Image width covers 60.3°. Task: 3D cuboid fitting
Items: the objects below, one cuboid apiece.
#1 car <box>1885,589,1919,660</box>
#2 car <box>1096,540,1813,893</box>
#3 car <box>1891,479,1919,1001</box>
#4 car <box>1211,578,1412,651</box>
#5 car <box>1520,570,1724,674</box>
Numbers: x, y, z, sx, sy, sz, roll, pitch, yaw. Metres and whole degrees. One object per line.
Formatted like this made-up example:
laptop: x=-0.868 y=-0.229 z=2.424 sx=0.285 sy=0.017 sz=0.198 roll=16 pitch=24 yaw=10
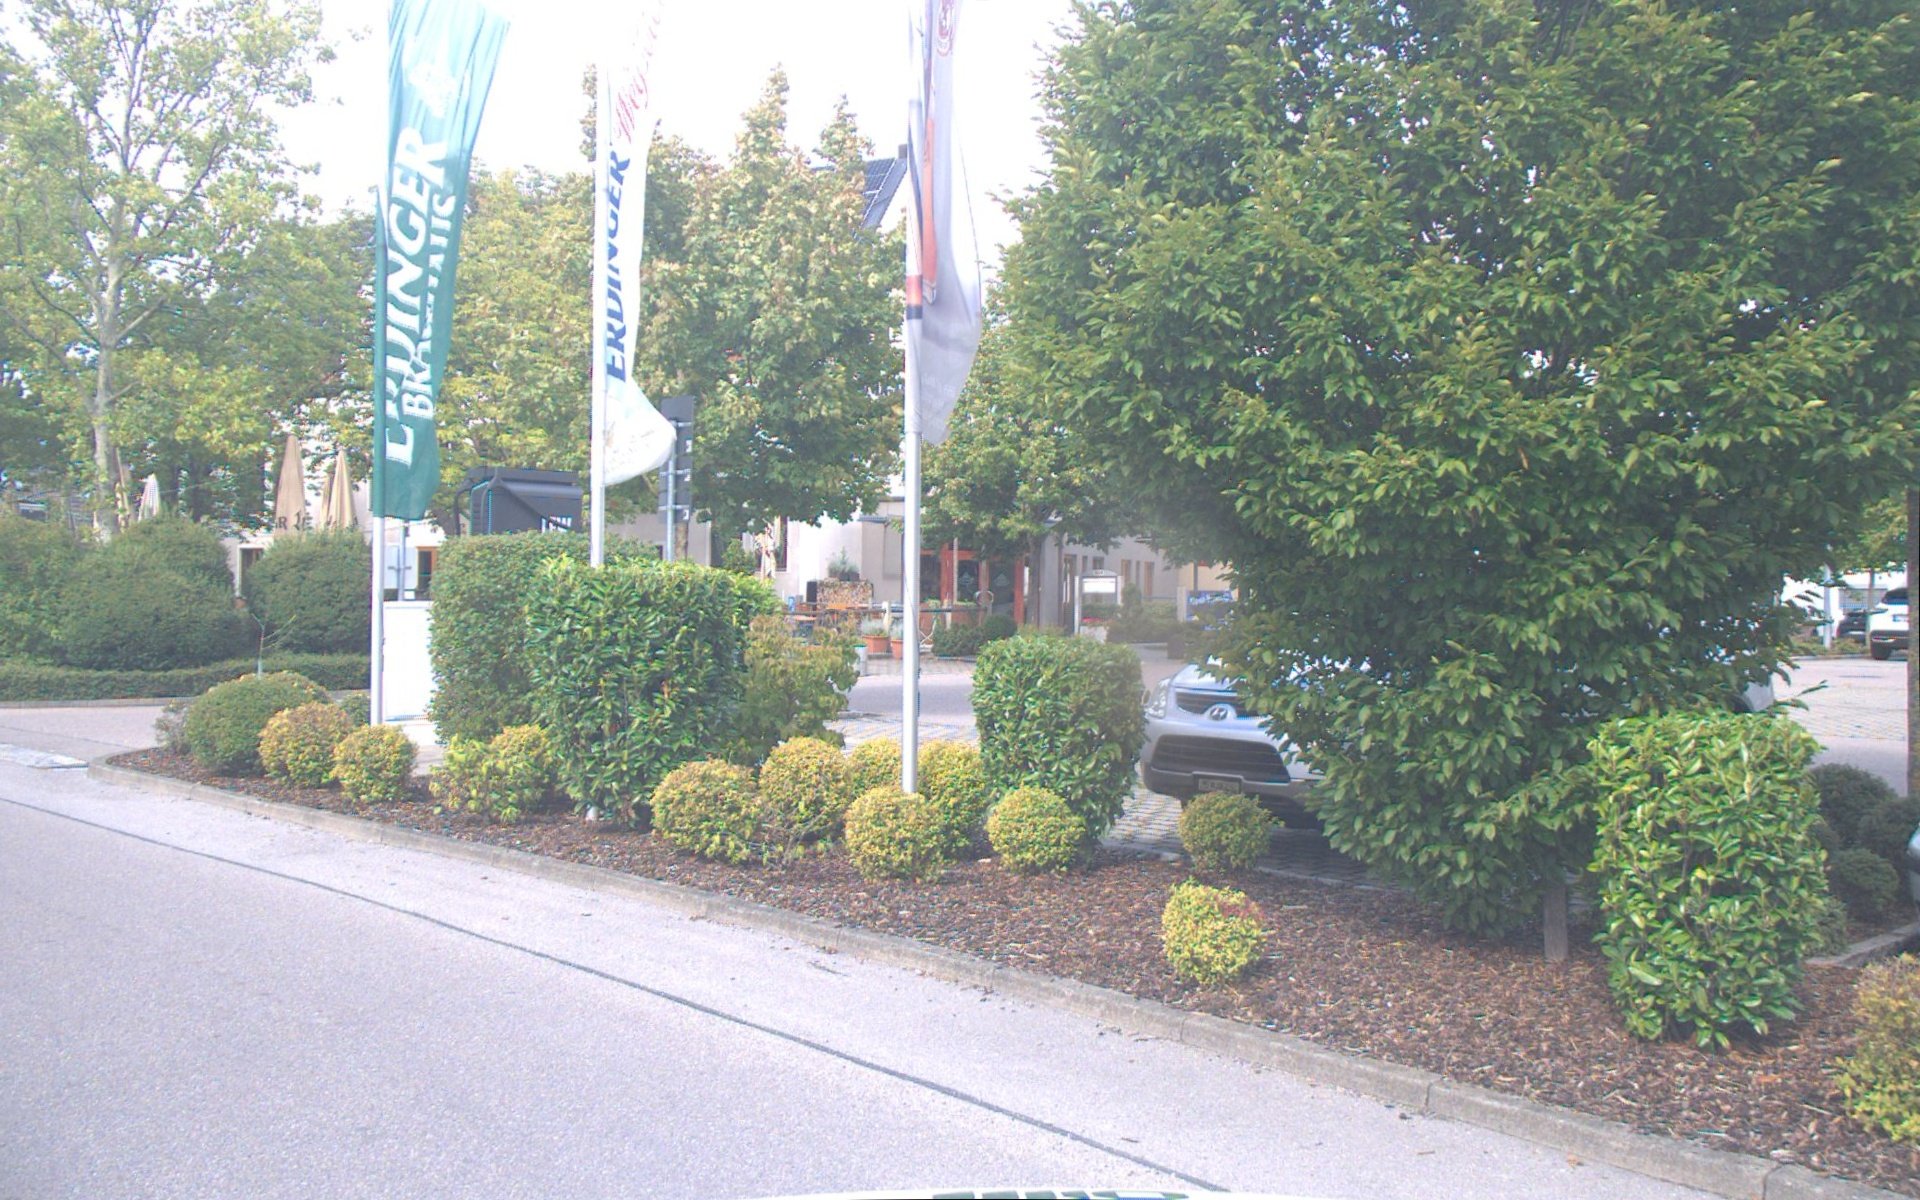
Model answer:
car: x=22.205 y=0.558 z=36.845 sx=3.816 sy=1.526 sz=1.794 roll=1 pitch=0 yaw=-44
car: x=3.201 y=0.548 z=10.259 sx=4.629 sy=1.726 sz=1.894 roll=-1 pitch=0 yaw=-37
car: x=5.366 y=0.499 z=6.242 sx=4.316 sy=1.746 sz=1.636 roll=1 pitch=0 yaw=-37
car: x=8.856 y=0.332 z=42.021 sx=1.734 sy=1.741 sz=5.004 roll=1 pitch=0 yaw=-40
car: x=11.222 y=0.357 z=27.918 sx=3.969 sy=1.619 sz=1.739 roll=1 pitch=0 yaw=-44
